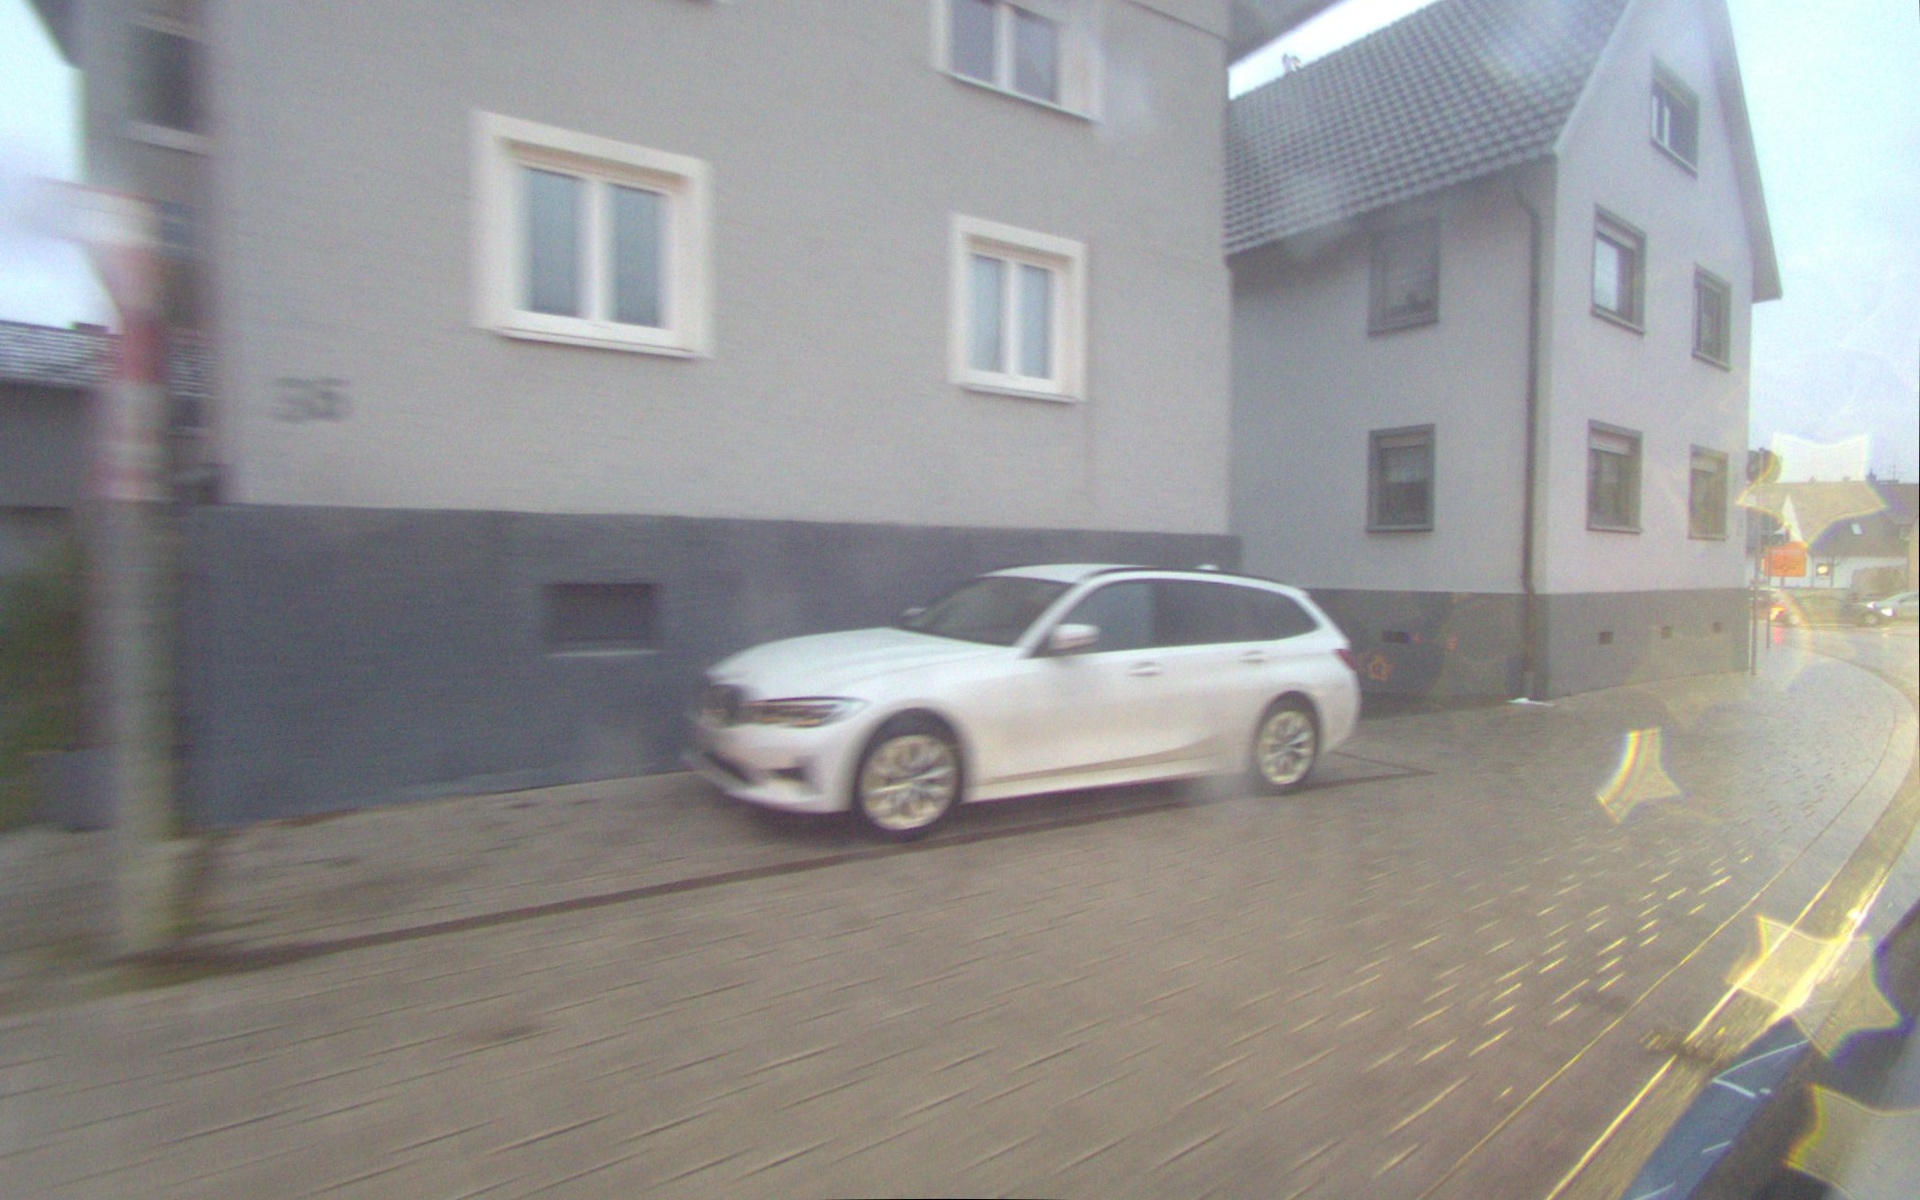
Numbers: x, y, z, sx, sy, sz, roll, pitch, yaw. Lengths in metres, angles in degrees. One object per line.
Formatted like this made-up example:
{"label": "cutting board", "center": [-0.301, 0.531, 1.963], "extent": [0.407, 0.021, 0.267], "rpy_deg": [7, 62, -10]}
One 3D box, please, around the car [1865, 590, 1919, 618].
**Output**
{"label": "car", "center": [45.347, 0.183, 47.266], "extent": [4.211, 1.315, 1.978], "rpy_deg": [0, 0, 31]}

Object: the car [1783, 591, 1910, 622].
{"label": "car", "center": [39.650, 0.266, 45.394], "extent": [3.968, 1.315, 1.978], "rpy_deg": [0, 0, 32]}

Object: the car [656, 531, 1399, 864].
{"label": "car", "center": [0.590, 0.432, 6.616], "extent": [4.604, 1.504, 1.937], "rpy_deg": [0, 0, -32]}
